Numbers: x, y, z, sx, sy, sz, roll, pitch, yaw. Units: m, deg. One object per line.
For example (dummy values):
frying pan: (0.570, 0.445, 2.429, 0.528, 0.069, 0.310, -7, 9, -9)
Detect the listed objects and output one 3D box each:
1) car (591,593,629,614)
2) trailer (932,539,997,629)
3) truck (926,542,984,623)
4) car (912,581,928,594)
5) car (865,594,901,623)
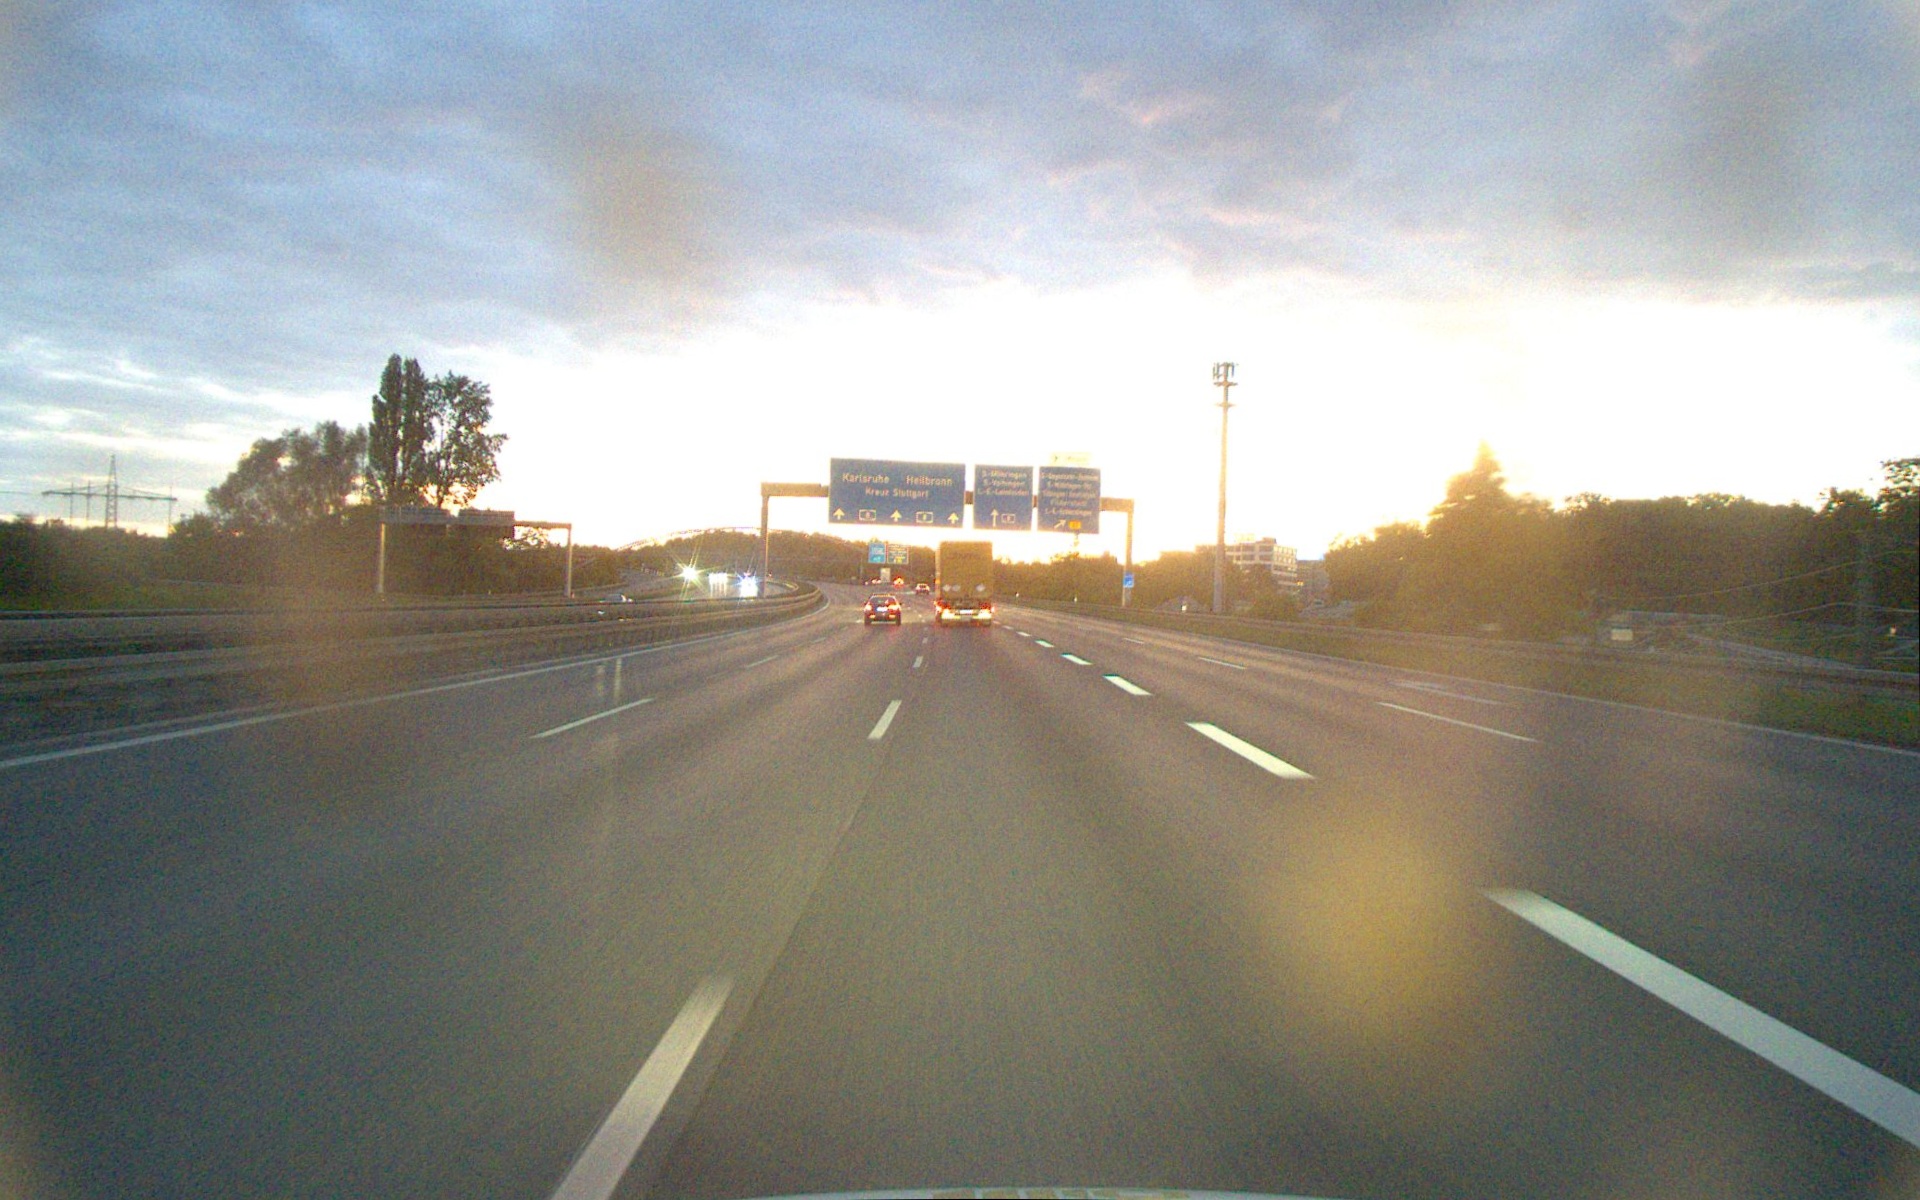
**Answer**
car: (-25.202, 0.251, 119.241, 1.953, 1.428, 4.327, 1, 0, -2)
trailer: (0.133, -0.815, 81.118, 2.667, 4.142, 8.826, 0, 1, -3)
truck: (-0.362, -0.982, 90.762, 2.636, 4.142, 10.514, 0, 1, -3)
car: (-5.864, -1.805, 240.647, 1.955, 1.747, 3.994, 1, -1, -7)
car: (-3.917, 0.459, 83.870, 1.657, 1.426, 3.404, 0, -1, -5)
